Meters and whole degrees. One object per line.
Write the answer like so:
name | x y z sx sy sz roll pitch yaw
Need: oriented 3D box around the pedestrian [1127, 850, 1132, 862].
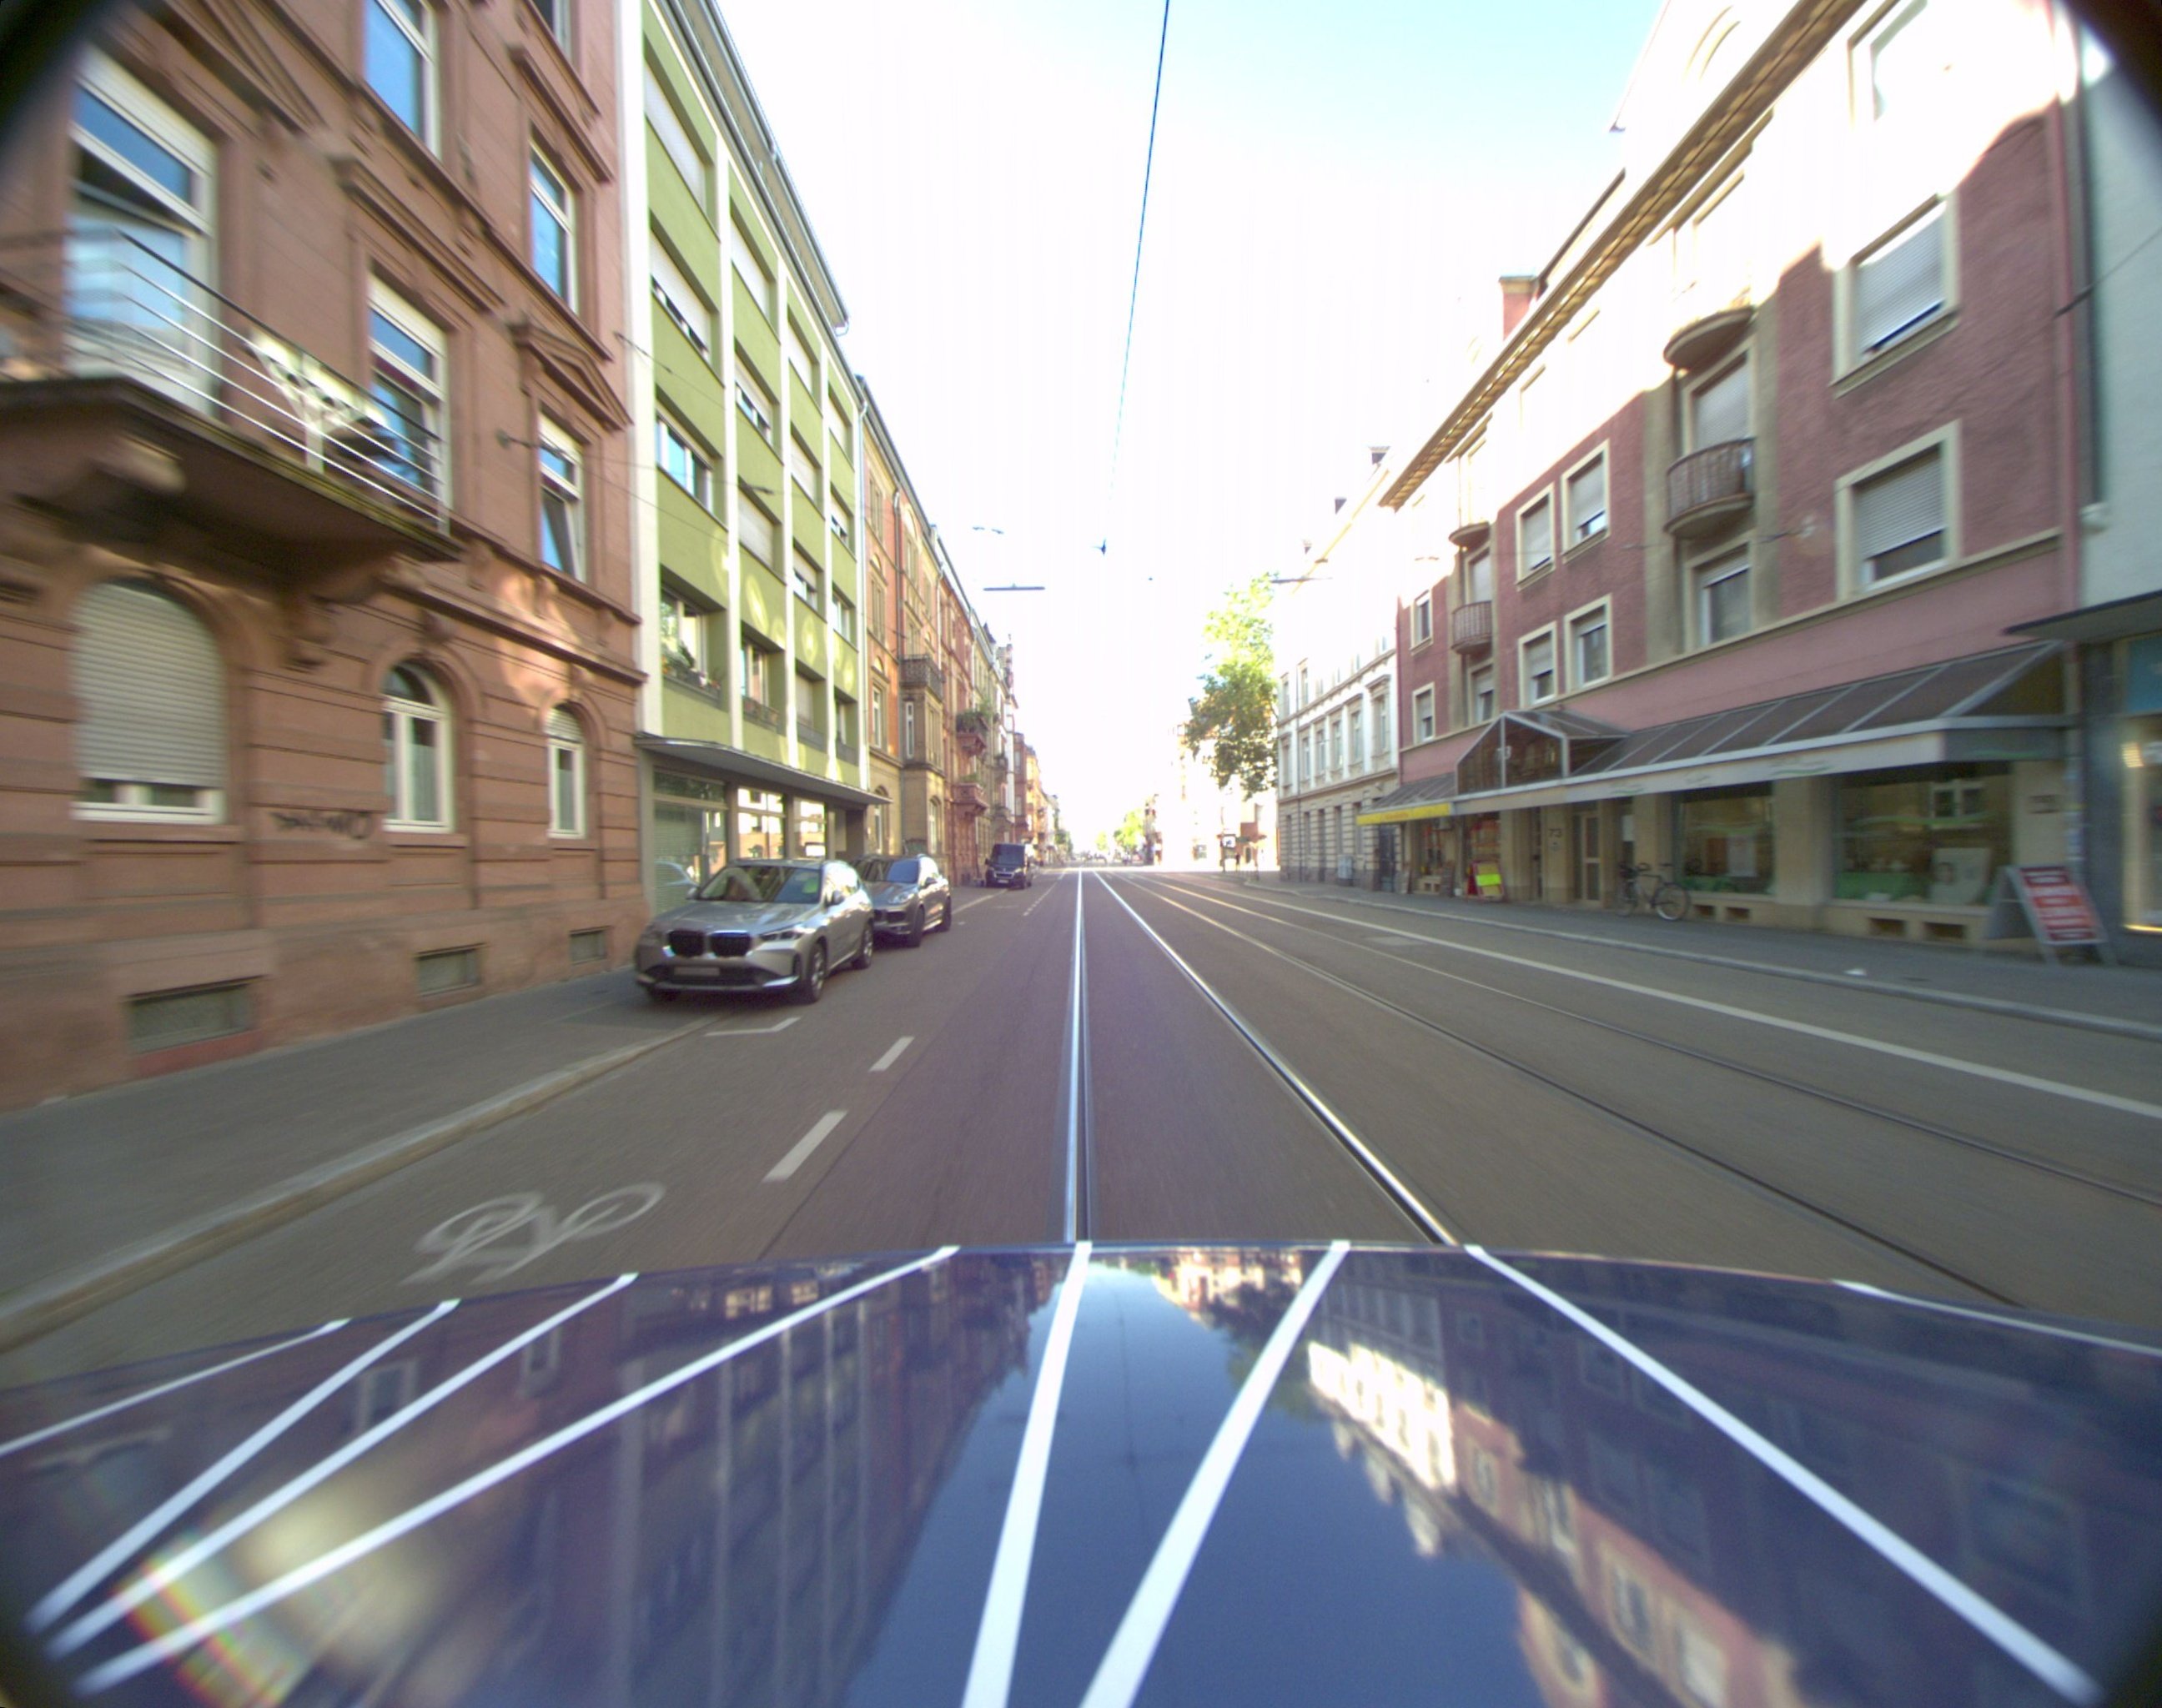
pedestrian | 8.112 0.325 127.626 0.756 2.002 0.718 -2 1 0

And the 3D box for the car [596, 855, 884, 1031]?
car | -3.929 0.880 9.712 1.871 1.637 4.399 -2 1 -4

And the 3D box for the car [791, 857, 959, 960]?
car | -3.826 0.925 15.072 1.999 1.606 4.785 2 1 0

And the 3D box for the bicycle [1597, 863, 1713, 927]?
bicycle | 10.822 0.729 14.434 0.425 1.053 2.329 -2 1 0

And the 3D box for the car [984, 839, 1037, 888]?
car | -3.847 0.485 42.359 2.128 2.478 5.856 -2 1 2

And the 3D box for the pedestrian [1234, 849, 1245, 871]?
pedestrian | 13.951 0.531 67.078 0.795 1.837 0.809 -2 1 3

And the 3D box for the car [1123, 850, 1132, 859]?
car | 10.881 0.171 178.628 1.998 2.002 4.000 -1 0 0
